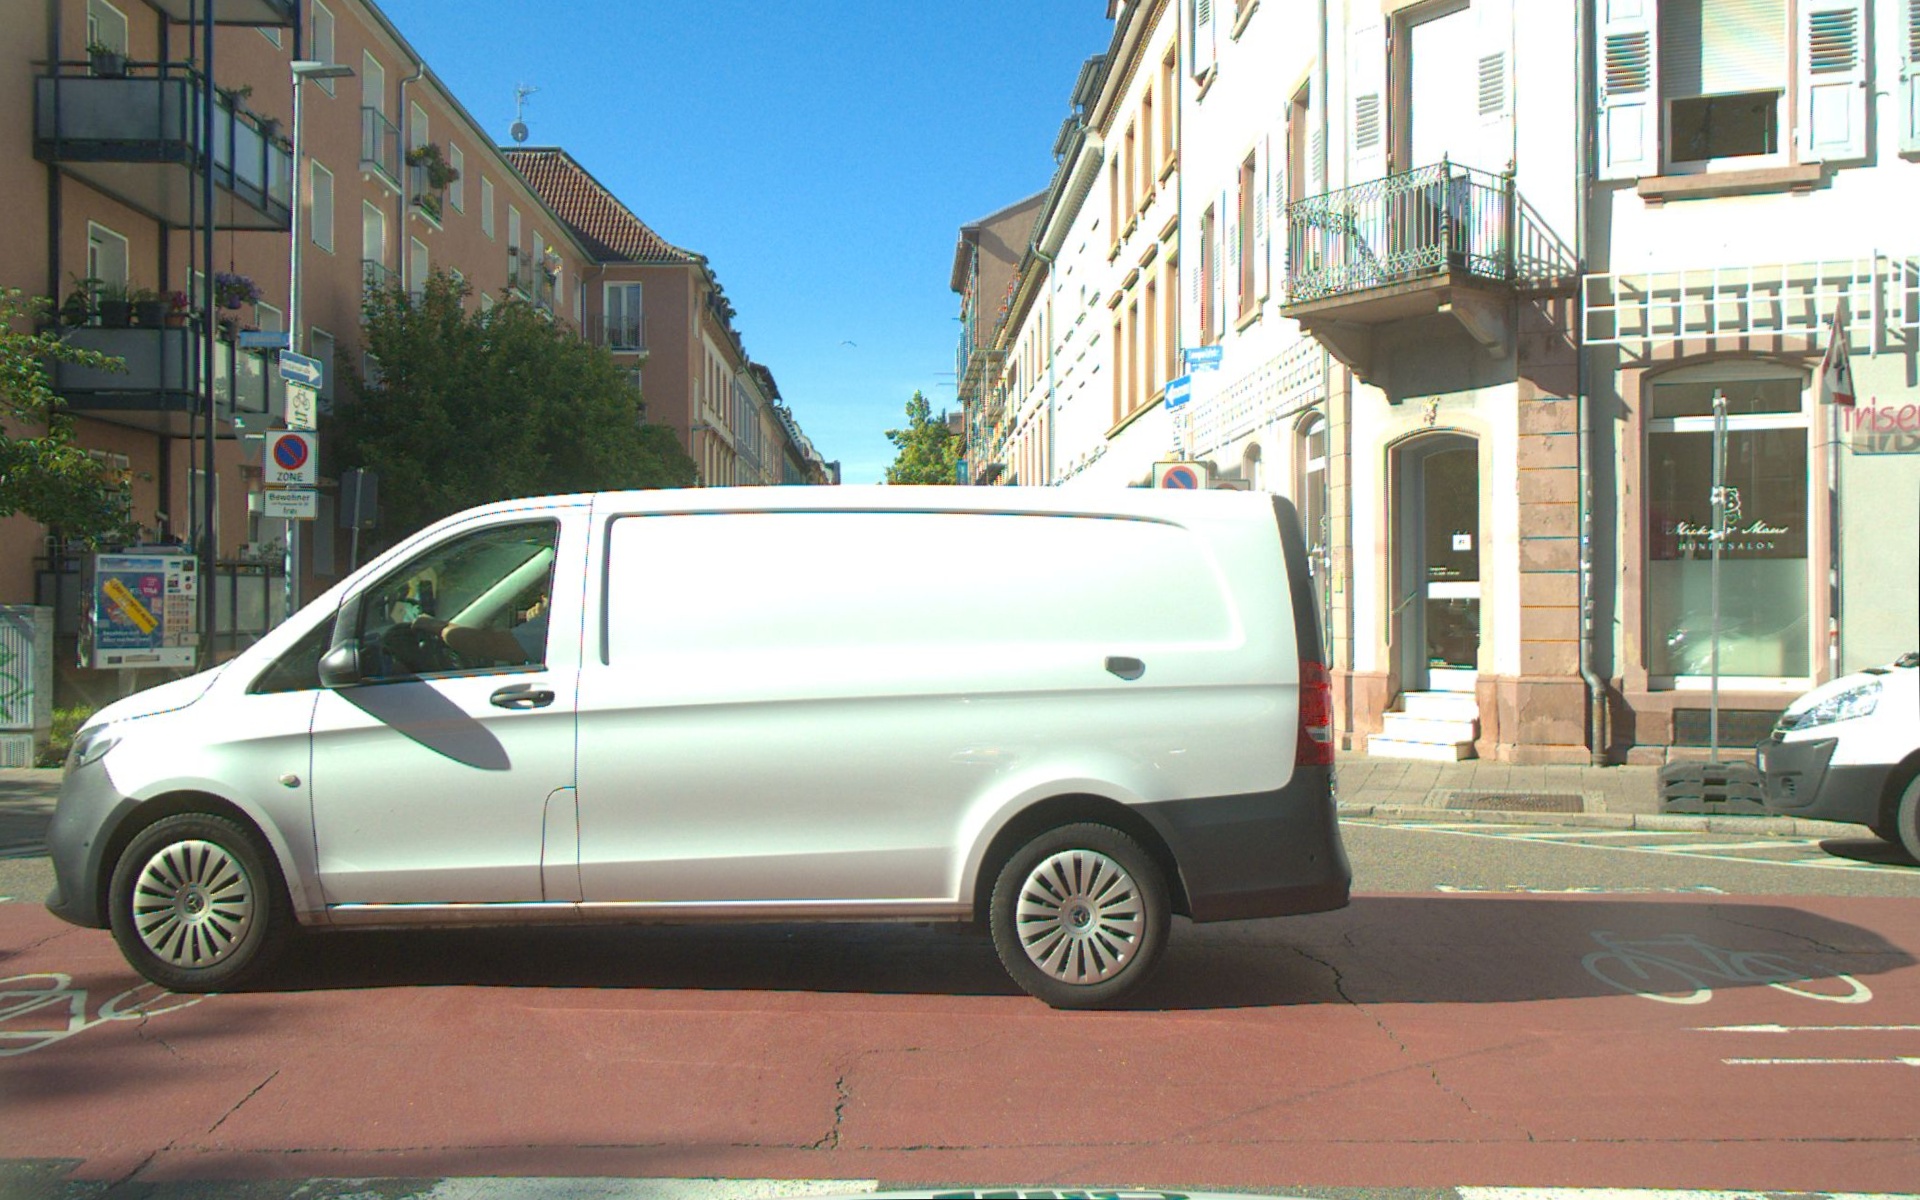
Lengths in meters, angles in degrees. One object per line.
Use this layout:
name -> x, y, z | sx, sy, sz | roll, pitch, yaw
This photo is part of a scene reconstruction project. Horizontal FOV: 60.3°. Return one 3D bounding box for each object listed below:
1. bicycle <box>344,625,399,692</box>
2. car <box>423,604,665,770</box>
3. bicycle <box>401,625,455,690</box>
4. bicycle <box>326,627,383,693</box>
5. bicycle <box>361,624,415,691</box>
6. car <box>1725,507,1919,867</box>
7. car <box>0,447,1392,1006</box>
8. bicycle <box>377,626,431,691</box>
bicycle -> -9.849, 0.968, 27.672 | 1.193, 1.091, 0.265 | 0, 0, 38
car -> -4.273, 0.828, 17.546 | 1.651, 1.526, 3.805 | -1, 0, -1
bicycle -> -9.088, 0.971, 28.238 | 1.196, 1.090, 0.252 | 0, 0, 38
bicycle -> -10.040, 0.985, 27.420 | 1.193, 1.053, 0.290 | 0, 0, 38
bicycle -> -9.664, 0.960, 27.930 | 1.193, 1.089, 0.252 | 0, 0, 38
car -> 7.134, 0.478, 9.451 | 4.907, 1.980, 2.050 | 0, 0, 22
car -> -1.043, 0.442, 7.017 | 5.292, 1.941, 2.109 | 0, 0, 5
bicycle -> -9.478, 0.986, 28.172 | 1.193, 1.090, 0.252 | 0, 0, 38
